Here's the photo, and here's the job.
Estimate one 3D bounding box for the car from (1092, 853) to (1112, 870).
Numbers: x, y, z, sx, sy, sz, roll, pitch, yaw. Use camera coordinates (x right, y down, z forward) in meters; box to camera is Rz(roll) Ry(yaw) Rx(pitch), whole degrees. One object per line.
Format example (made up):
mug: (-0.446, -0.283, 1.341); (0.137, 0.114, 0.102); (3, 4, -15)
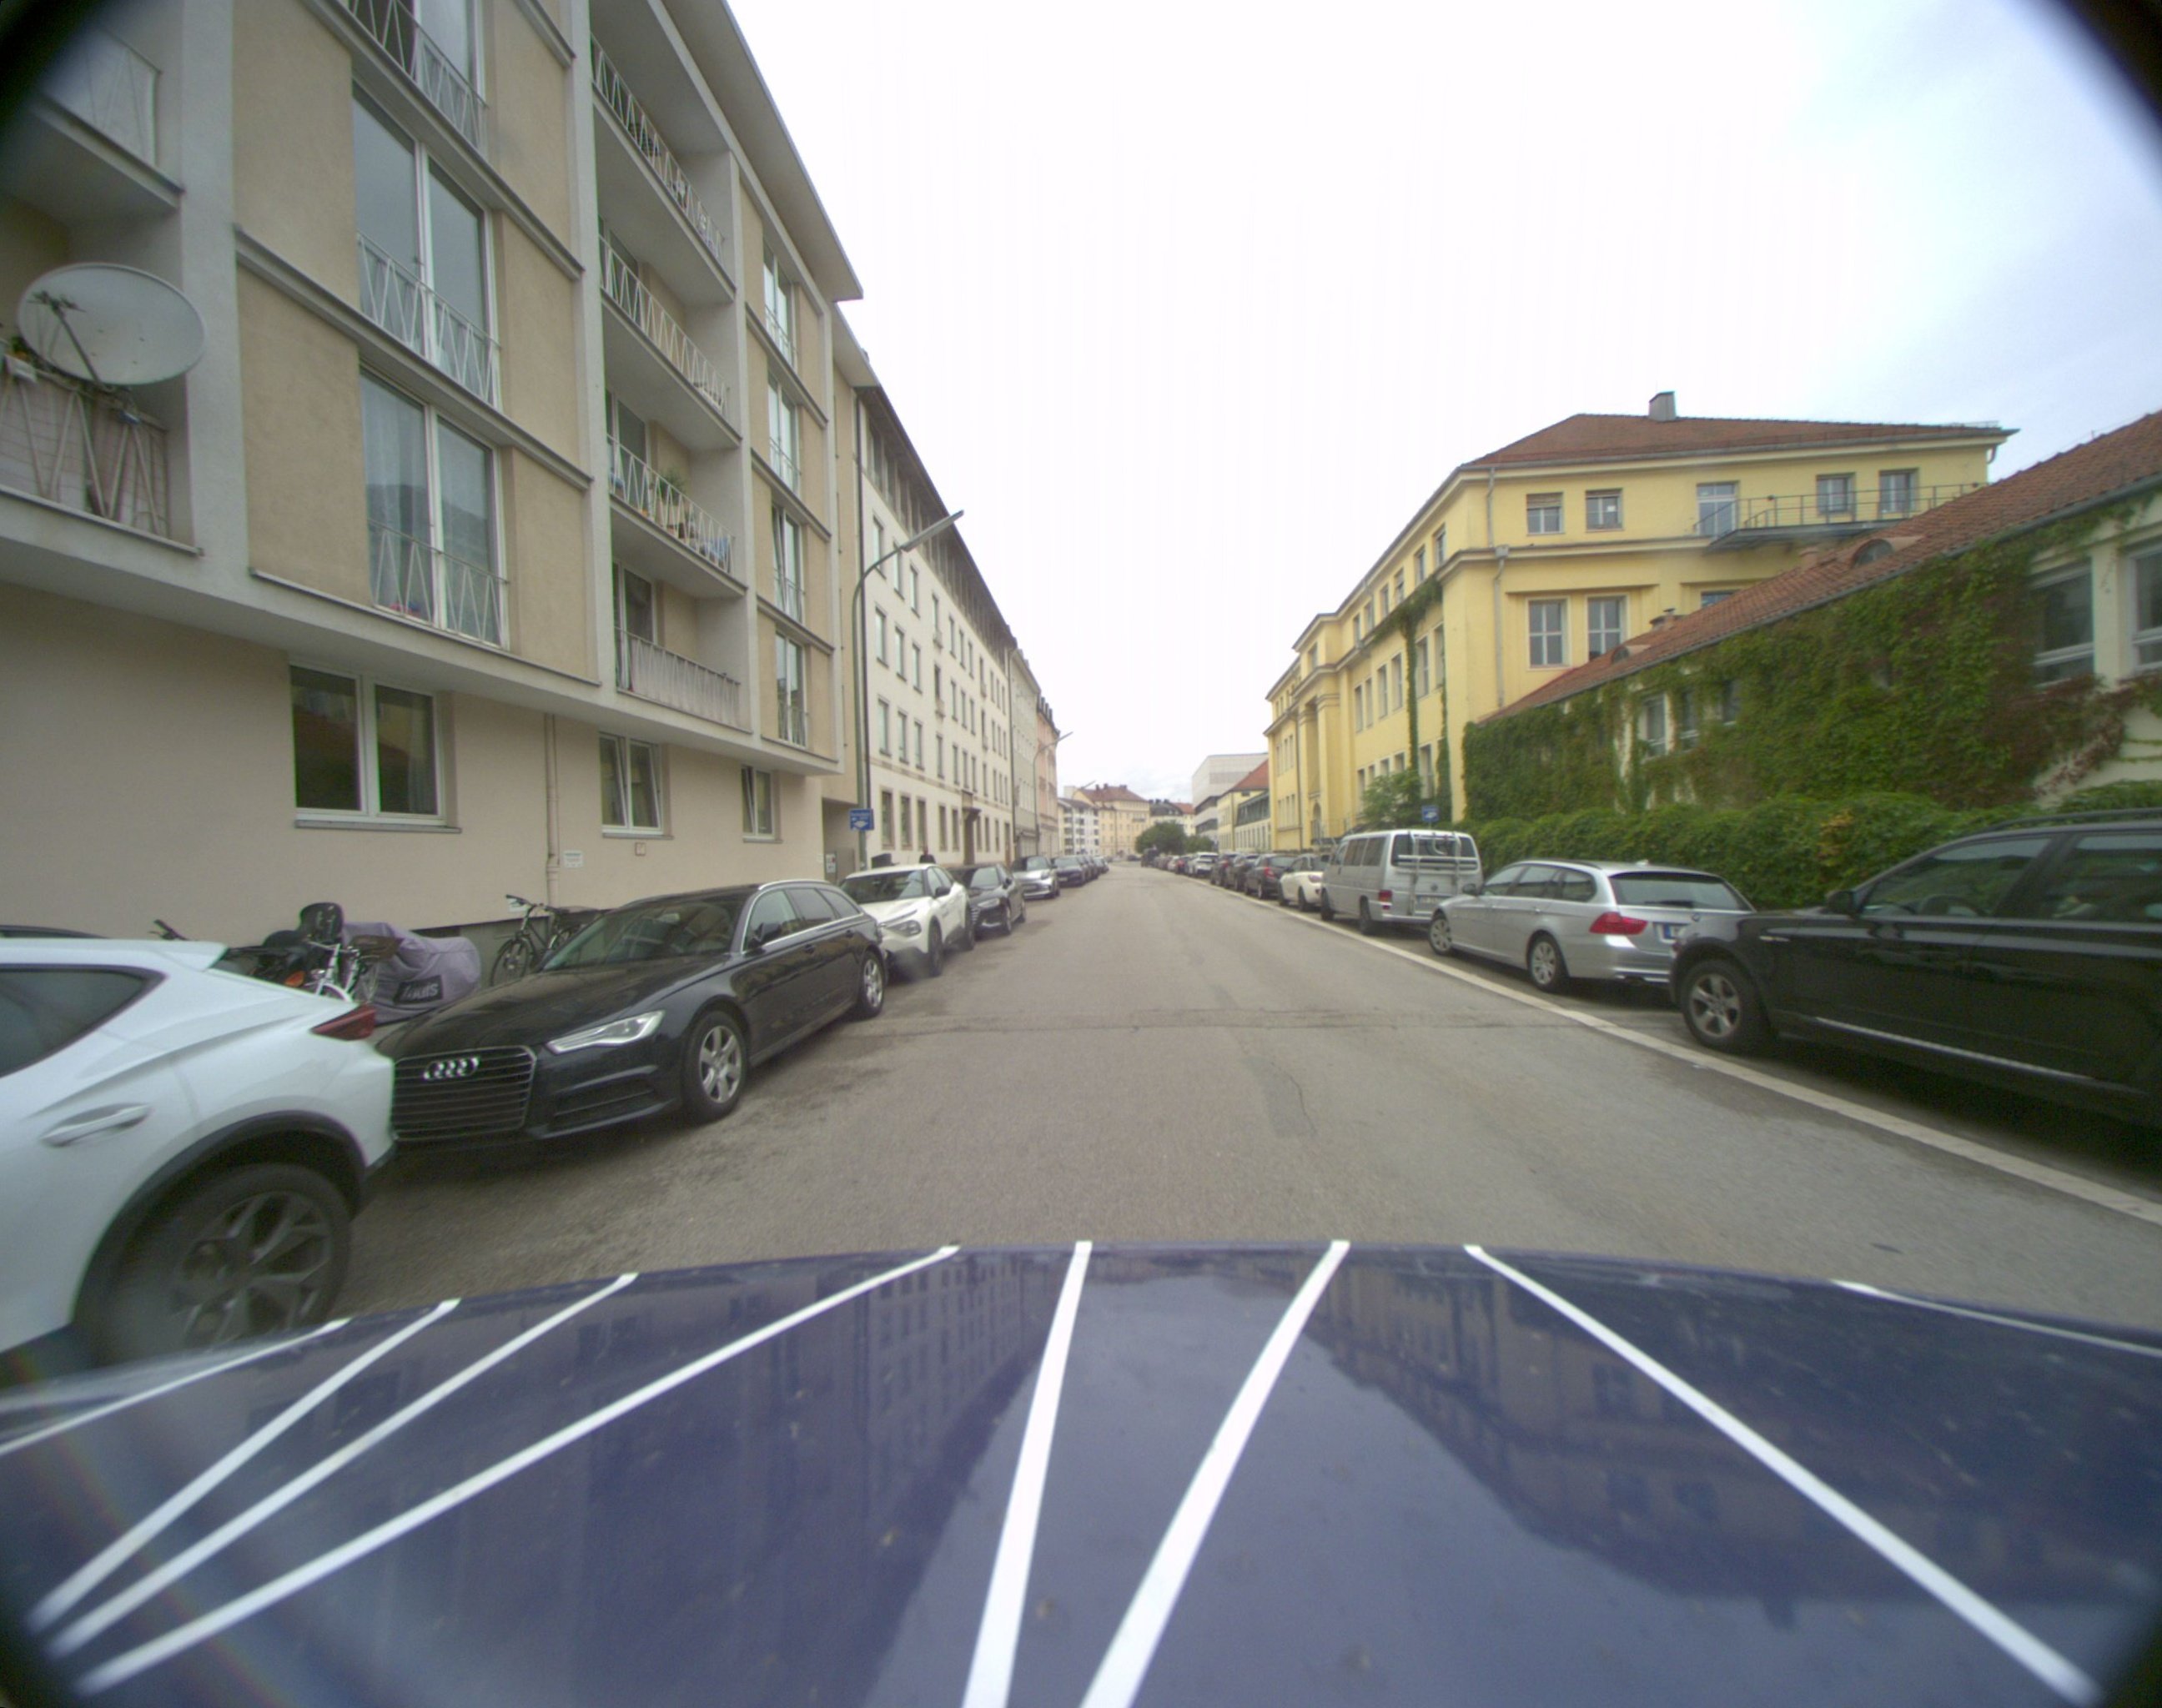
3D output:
car: (2.244, 0.785, 83.245); (1.686, 1.663, 3.803); (-4, 0, -4)

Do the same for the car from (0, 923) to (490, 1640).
car: (-3.431, 1.139, 0.912); (1.790, 1.524, 4.647); (-5, 0, -2)

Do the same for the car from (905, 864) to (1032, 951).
car: (-2.195, 0.994, 16.174); (1.749, 1.380, 4.954); (-4, 0, 2)

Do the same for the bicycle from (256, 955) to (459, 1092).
bicycle: (-6.353, 1.447, 6.770); (0.379, 0.900, 1.392); (-1, 0, 4)

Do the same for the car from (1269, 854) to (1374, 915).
car: (6.225, 0.724, 20.089); (1.595, 1.433, 4.019); (1, 0, 2)

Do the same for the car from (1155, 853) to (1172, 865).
car: (11.125, 0.733, 102.614); (1.918, 1.578, 4.353); (1, -1, 1)

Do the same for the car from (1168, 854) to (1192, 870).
car: (9.292, 0.718, 71.712); (1.798, 1.421, 4.665); (1, 0, 2)

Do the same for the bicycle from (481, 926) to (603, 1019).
bicycle: (-6.529, 1.408, 9.282); (0.379, 0.900, 1.392); (-2, 0, 4)

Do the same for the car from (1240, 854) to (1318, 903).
car: (6.492, 0.758, 25.339); (1.607, 1.422, 4.252); (1, 1, 2)

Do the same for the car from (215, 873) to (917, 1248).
car: (-3.053, 1.070, 6.230); (1.884, 1.513, 5.164); (-5, 0, 3)

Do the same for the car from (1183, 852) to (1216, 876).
car: (8.323, 0.672, 53.810); (1.707, 1.493, 4.495); (3, 1, 2)

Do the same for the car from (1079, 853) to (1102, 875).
car: (0.782, 0.792, 60.820); (1.710, 1.583, 4.362); (-3, 0, 1)

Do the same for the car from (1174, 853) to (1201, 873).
car: (8.250, 0.674, 58.935); (1.703, 1.488, 4.149); (2, 1, 4)

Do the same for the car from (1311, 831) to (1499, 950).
car: (5.942, 0.565, 14.655); (1.891, 1.879, 4.775); (1, 1, 5)

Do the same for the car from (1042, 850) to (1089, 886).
car: (-0.667, 0.624, 37.221); (1.806, 1.475, 5.320); (-5, 0, 3)

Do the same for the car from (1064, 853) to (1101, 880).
car: (0.134, 0.739, 47.318); (1.843, 1.513, 4.710); (-3, 0, 5)

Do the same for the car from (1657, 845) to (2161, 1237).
car: (5.390, 0.784, 3.809); (1.701, 1.633, 4.490); (1, 1, 2)

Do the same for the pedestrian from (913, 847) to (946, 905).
pedestrian: (-4.835, 0.681, 24.240); (0.724, 1.754, 0.904); (-2, 3, 4)

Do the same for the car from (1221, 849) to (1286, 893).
car: (6.807, 0.633, 30.403); (1.728, 1.620, 4.466); (0, 0, 2)

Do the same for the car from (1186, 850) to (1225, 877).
car: (7.953, 0.569, 48.854); (1.750, 1.624, 4.856); (0, 0, 1)

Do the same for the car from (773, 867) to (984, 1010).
car: (-2.679, 1.036, 11.251); (1.698, 1.480, 4.580); (-4, 0, 1)

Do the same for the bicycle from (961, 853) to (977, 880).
bicycle: (-5.255, 0.588, 35.703); (0.514, 1.215, 1.988); (-2, 0, -3)

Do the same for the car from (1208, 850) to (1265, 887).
car: (7.123, 0.609, 35.250); (1.793, 1.577, 4.818); (1, 0, 2)

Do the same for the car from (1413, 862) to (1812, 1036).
car: (5.726, 0.858, 9.097); (1.657, 1.406, 4.772); (1, 1, 4)

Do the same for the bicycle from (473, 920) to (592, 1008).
bicycle: (-6.938, 1.366, 9.679); (0.379, 0.900, 1.392); (-2, 0, 4)

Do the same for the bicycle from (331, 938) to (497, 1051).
bicycle: (-6.860, 1.411, 7.898); (0.379, 0.900, 1.392); (-2, 0, 4)

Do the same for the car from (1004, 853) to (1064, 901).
car: (-1.611, 0.775, 26.954); (1.653, 1.486, 2.881); (-5, 0, 4)

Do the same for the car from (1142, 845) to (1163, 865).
car: (10.663, 0.104, 113.684); (2.219, 2.837, 6.194); (0, 0, -4)

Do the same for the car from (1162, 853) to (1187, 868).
car: (9.490, 0.641, 77.401); (1.962, 1.473, 4.529); (1, 0, 1)

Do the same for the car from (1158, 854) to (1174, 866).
car: (10.918, 0.771, 97.854); (1.917, 1.473, 4.533); (1, 0, 4)

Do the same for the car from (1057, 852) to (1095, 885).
car: (-0.226, 0.751, 42.462); (1.649, 1.580, 4.635); (-5, 0, 4)
